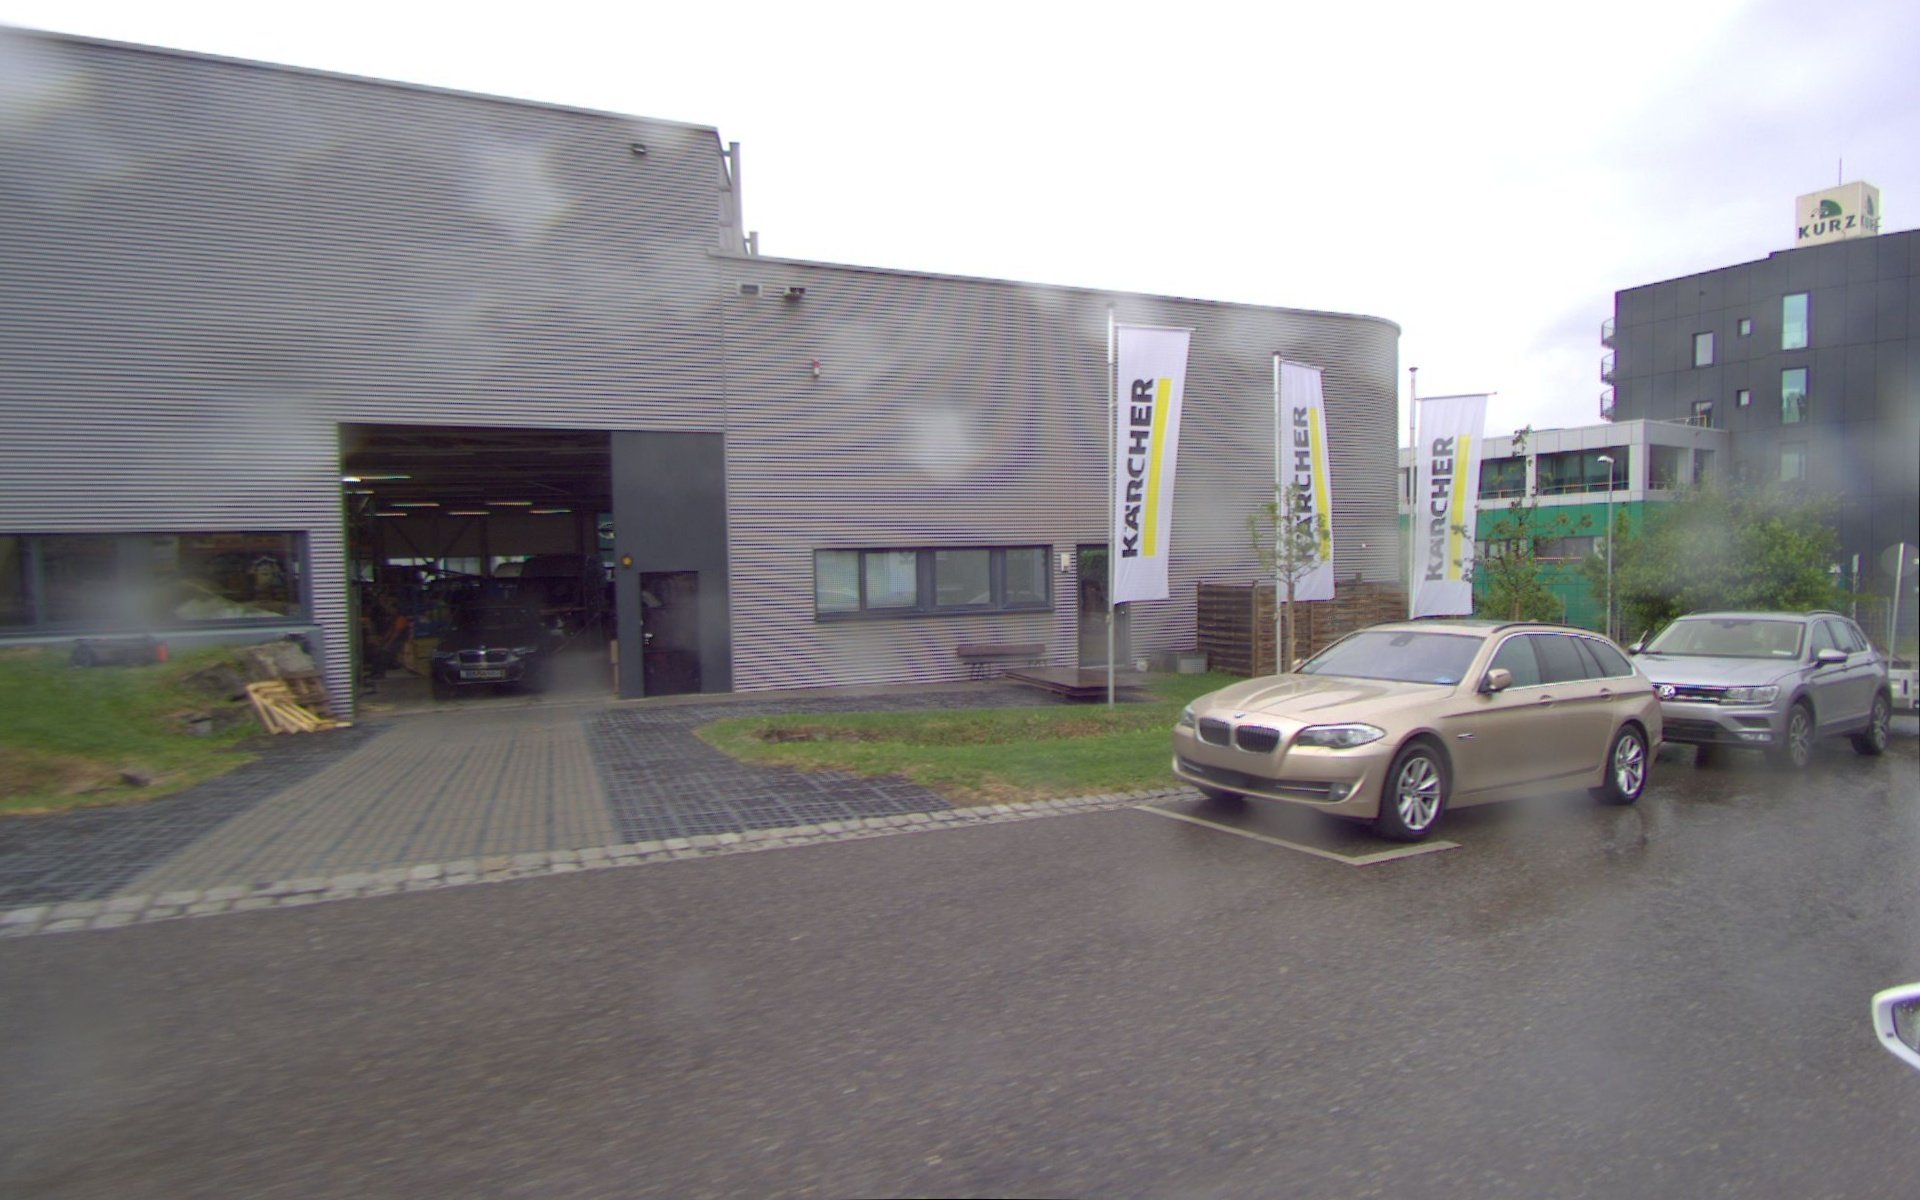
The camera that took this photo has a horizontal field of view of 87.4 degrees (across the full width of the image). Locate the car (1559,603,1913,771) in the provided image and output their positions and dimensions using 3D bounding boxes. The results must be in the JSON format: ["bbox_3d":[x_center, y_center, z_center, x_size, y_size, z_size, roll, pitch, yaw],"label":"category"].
[{"bbox_3d":[9.145,0.902,11.707,4.792,1.597,1.945,2,-1,-35],"label":"car"}]

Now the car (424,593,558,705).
[{"bbox_3d":[-8.821,0.805,19.228,1.904,1.796,4.204,-2,2,-20],"label":"car"}]

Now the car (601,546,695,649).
[{"bbox_3d":[-9.930,-0.151,32.407,1.874,2.980,5.918,-2,2,-8],"label":"car"}]

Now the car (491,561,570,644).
[{"bbox_3d":[-15.425,0.033,36.276,1.811,2.779,4.212,-2,2,-13],"label":"car"}]

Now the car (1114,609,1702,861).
[{"bbox_3d":[3.865,0.863,8.254,5.192,1.480,1.944,1,0,-34],"label":"car"}]

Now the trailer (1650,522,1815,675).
[{"bbox_3d":[23.042,-0.010,30.183,1.965,4.259,4.189,1,-1,5],"label":"trailer"}]

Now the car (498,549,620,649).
[{"bbox_3d":[-11.829,-0.099,30.117,2.082,2.635,5.697,-2,2,-9],"label":"car"}]

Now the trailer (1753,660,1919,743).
[{"bbox_3d":[12.800,1.344,14.022,3.858,0.900,1.669,2,-1,-35],"label":"trailer"}]
